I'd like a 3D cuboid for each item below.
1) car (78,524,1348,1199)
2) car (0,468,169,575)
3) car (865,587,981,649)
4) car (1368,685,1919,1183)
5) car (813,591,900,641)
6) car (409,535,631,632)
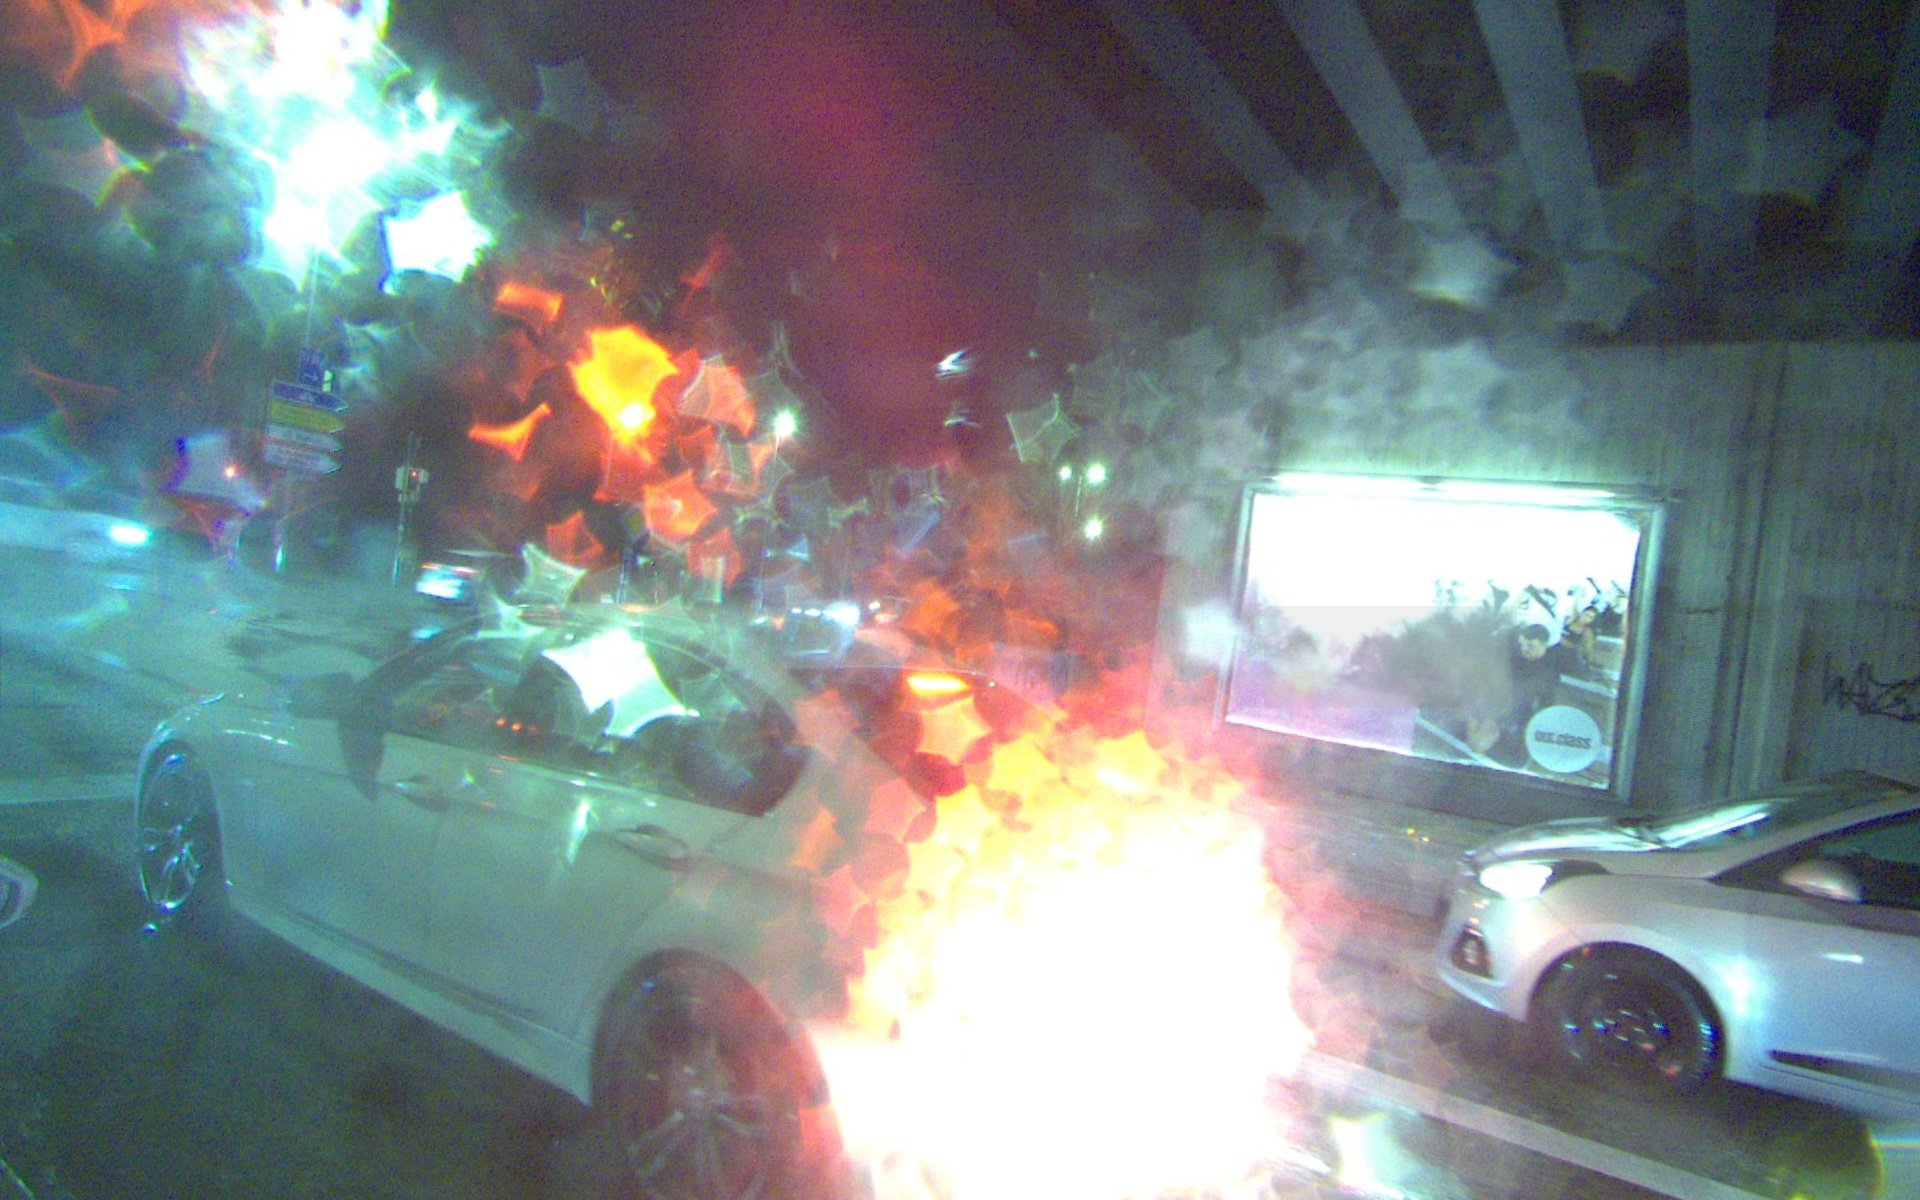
[{"bbox_3d":[-1.111,0.690,3.568,4.309,1.465,1.722,7,1,31],"label":"car"},{"bbox_3d":[-18.333,-1.634,19.529,4.422,1.691,1.823,8,-1,-35],"label":"car"},{"bbox_3d":[-1.317,0.719,37.914,1.807,1.790,4.830,6,-1,32],"label":"car"},{"bbox_3d":[4.050,1.376,4.119,4.092,1.465,1.722,7,1,31],"label":"car"},{"bbox_3d":[-5.183,0.835,50.944,1.971,2.037,3.986,6,-1,39],"label":"car"},{"bbox_3d":[-10.056,-0.309,23.358,1.805,1.669,4.424,6,-1,29],"label":"car"}]
